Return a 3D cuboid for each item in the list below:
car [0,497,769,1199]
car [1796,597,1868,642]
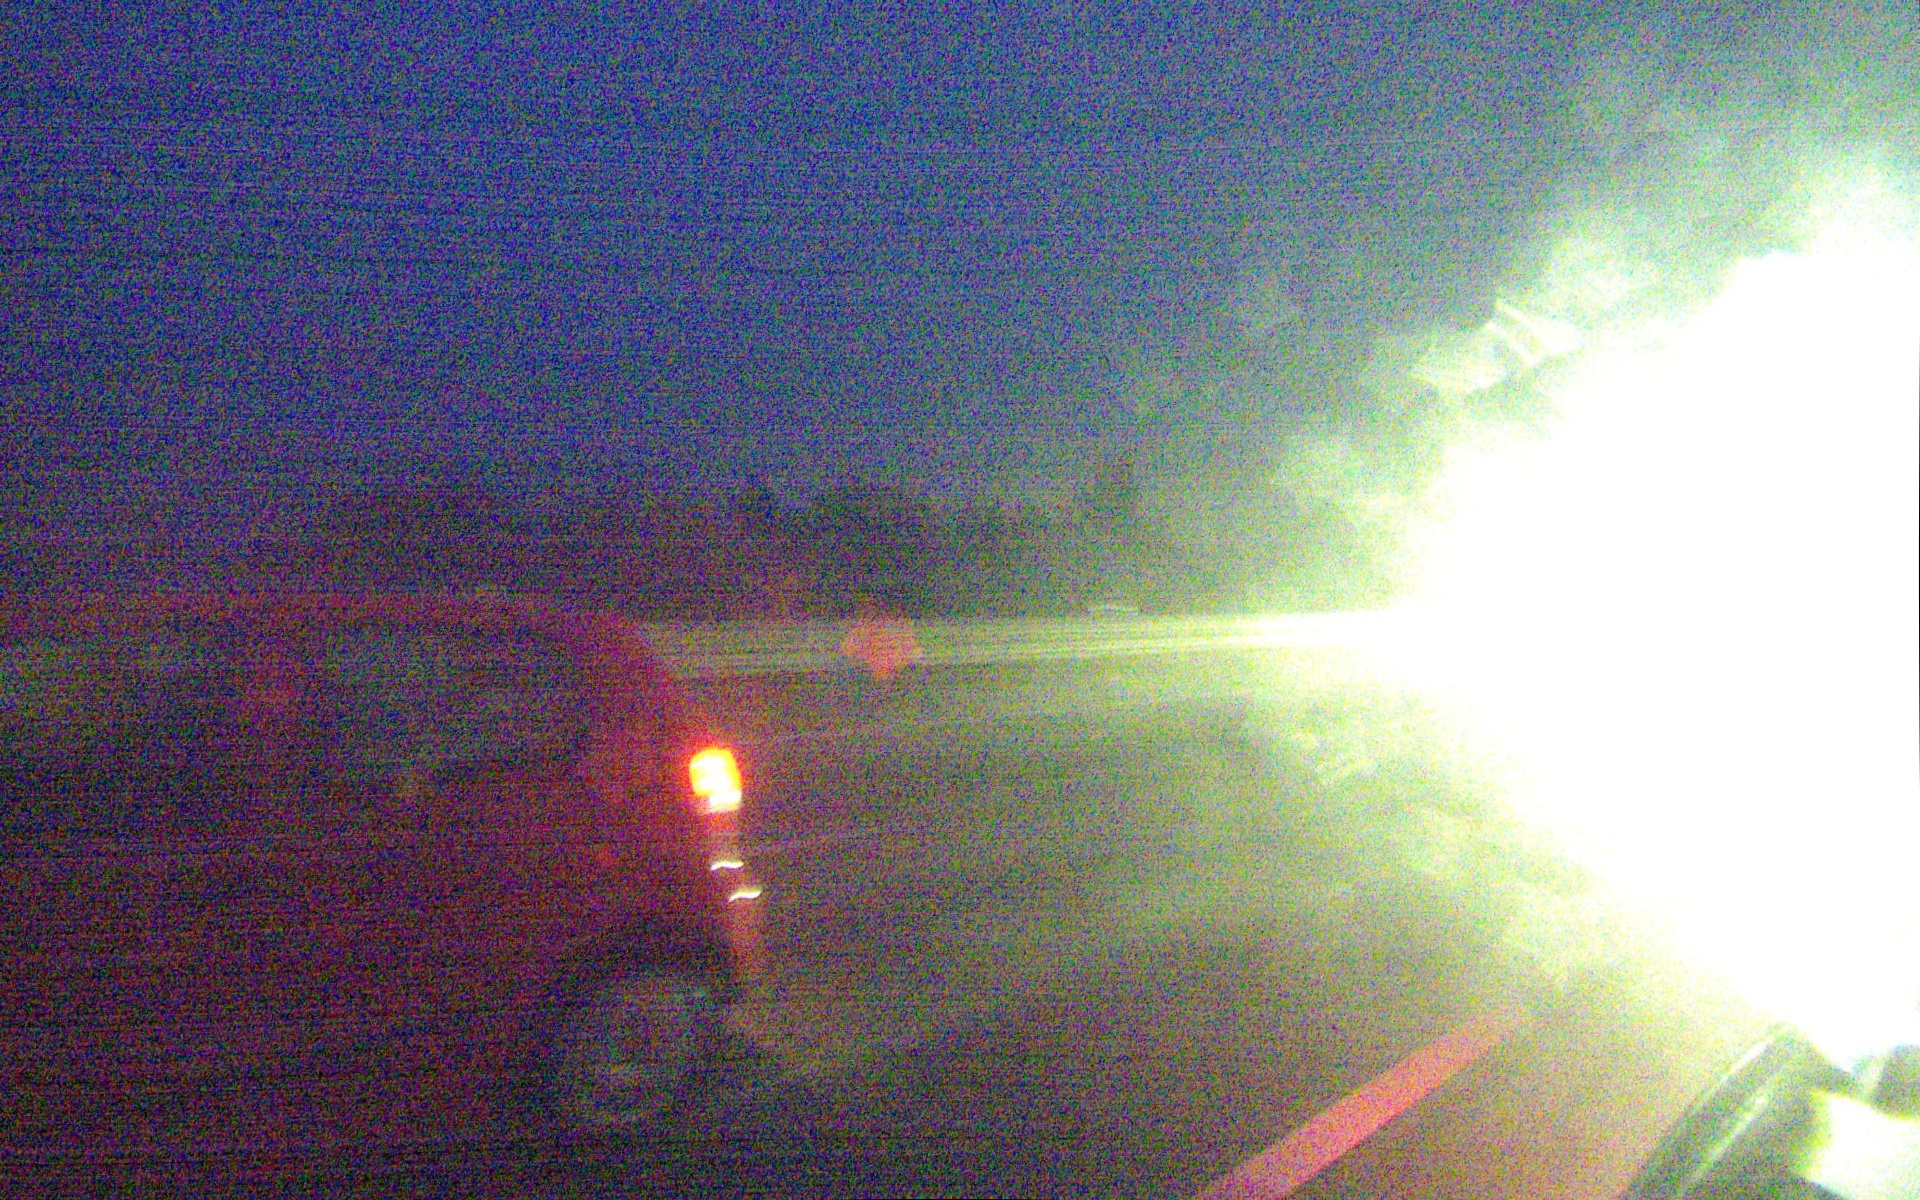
[{"bbox_3d":[-2.756,0.603,2.021,4.416,1.595,1.743,-1,1,-41],"label":"car"},{"bbox_3d":[32.305,0.699,37.447,3.946,1.522,1.641,1,1,-44],"label":"car"}]
